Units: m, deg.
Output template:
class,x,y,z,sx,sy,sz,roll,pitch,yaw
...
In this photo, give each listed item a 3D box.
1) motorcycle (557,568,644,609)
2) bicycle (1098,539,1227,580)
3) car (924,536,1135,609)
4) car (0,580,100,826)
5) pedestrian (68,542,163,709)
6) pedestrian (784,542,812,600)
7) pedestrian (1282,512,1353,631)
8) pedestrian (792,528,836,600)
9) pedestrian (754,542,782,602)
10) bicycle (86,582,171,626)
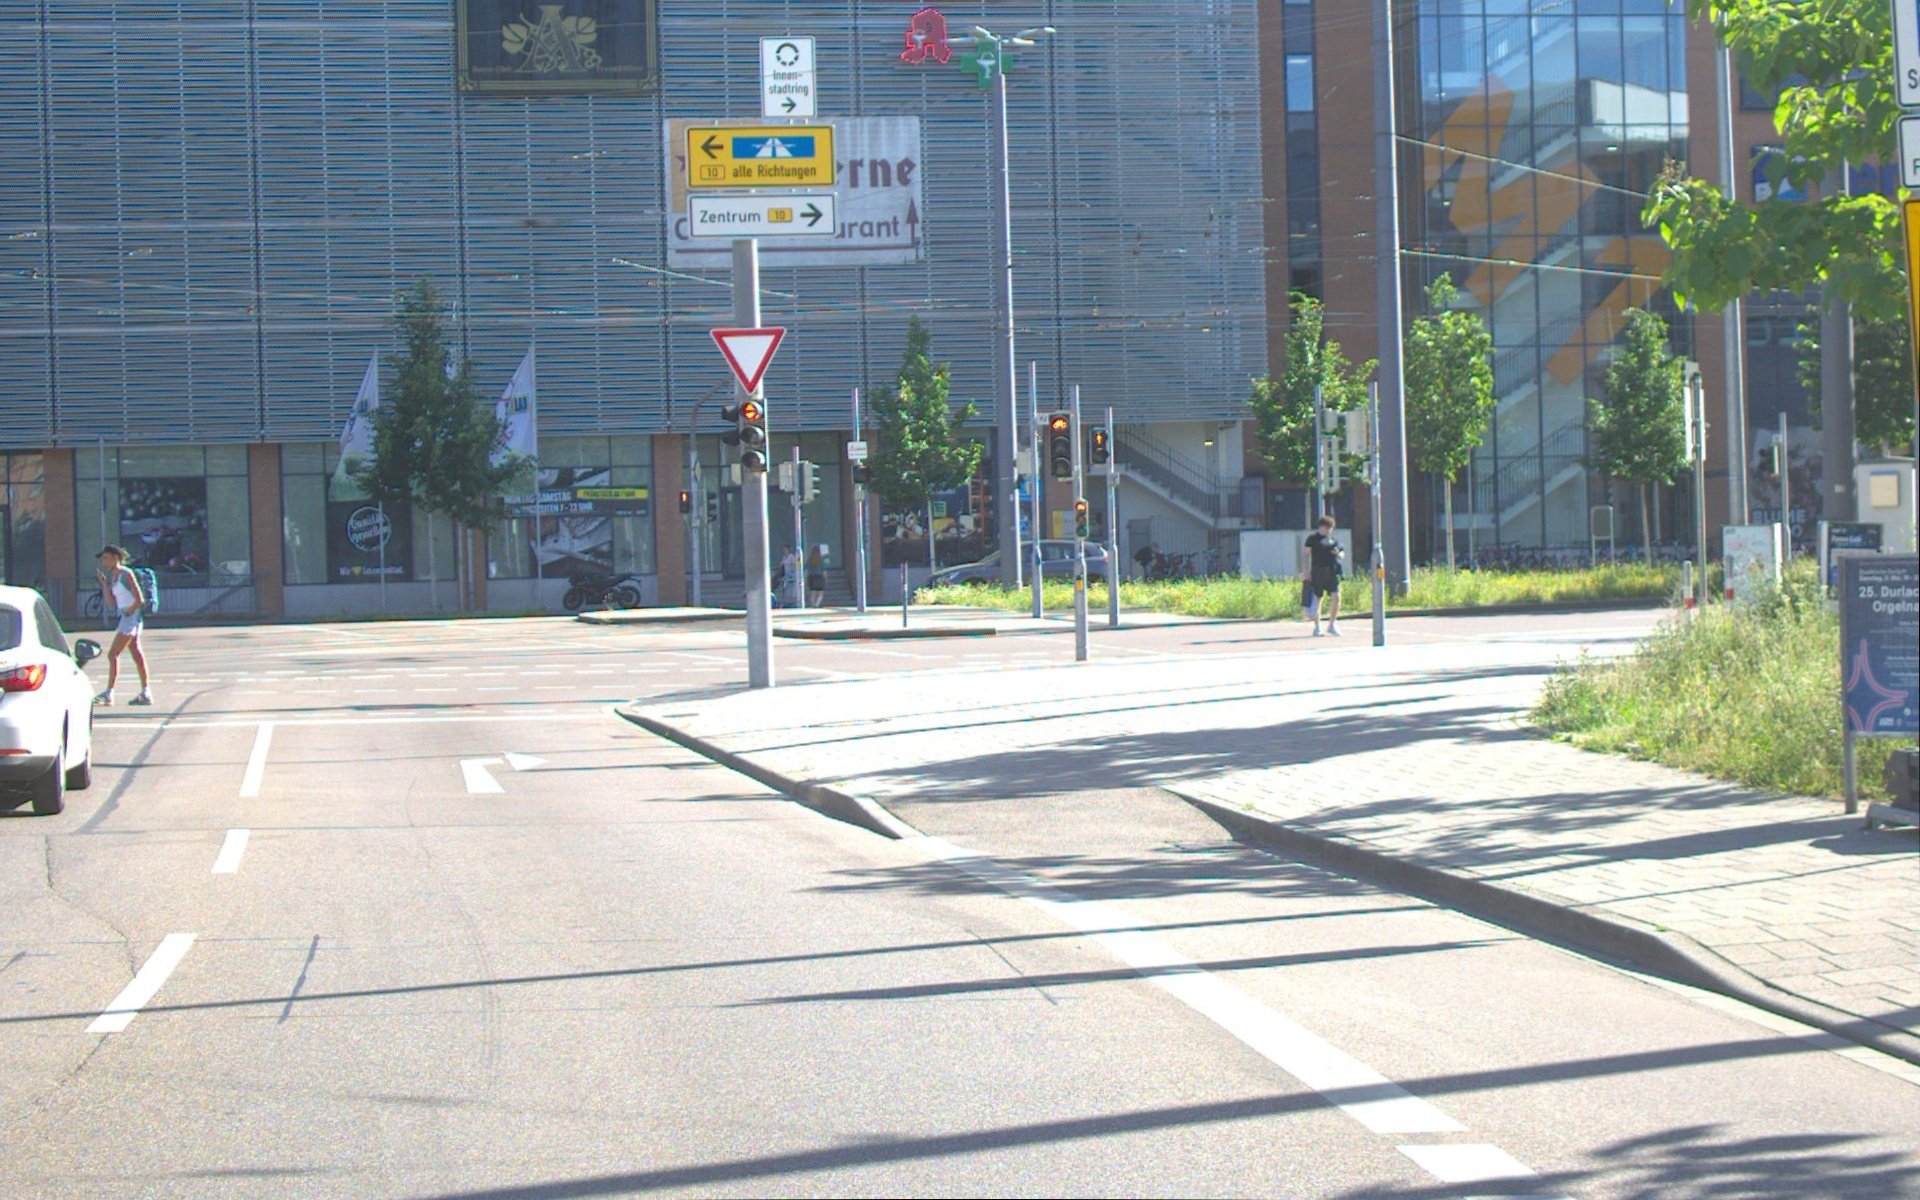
class,x,y,z,sx,sy,sz,roll,pitch,yaw
motorcycle,-9.466,-0.307,90.438,2.202,1.039,1.062,-1,2,-10
bicycle,5.497,-1.102,93.527,3.360,1.073,1.117,-1,2,-4
car,1.551,-0.618,77.029,4.486,1.489,1.495,-2,1,-10
car,-6.521,0.595,22.216,1.631,1.418,3.783,1,1,-11
pedestrian,-8.859,0.258,36.096,0.885,1.701,0.713,-2,1,-11
pedestrian,-4.181,-0.752,88.547,0.589,1.457,0.658,-2,1,-11
pedestrian,5.203,-0.421,50.075,0.806,1.703,0.762,-2,1,-11
pedestrian,-3.572,-0.881,84.170,0.853,1.732,0.754,-2,1,-17
pedestrian,-4.898,-0.718,87.802,0.589,1.529,0.658,-2,1,-11
bicycle,-21.255,0.101,87.952,2.025,1.055,1.145,-2,1,-11
